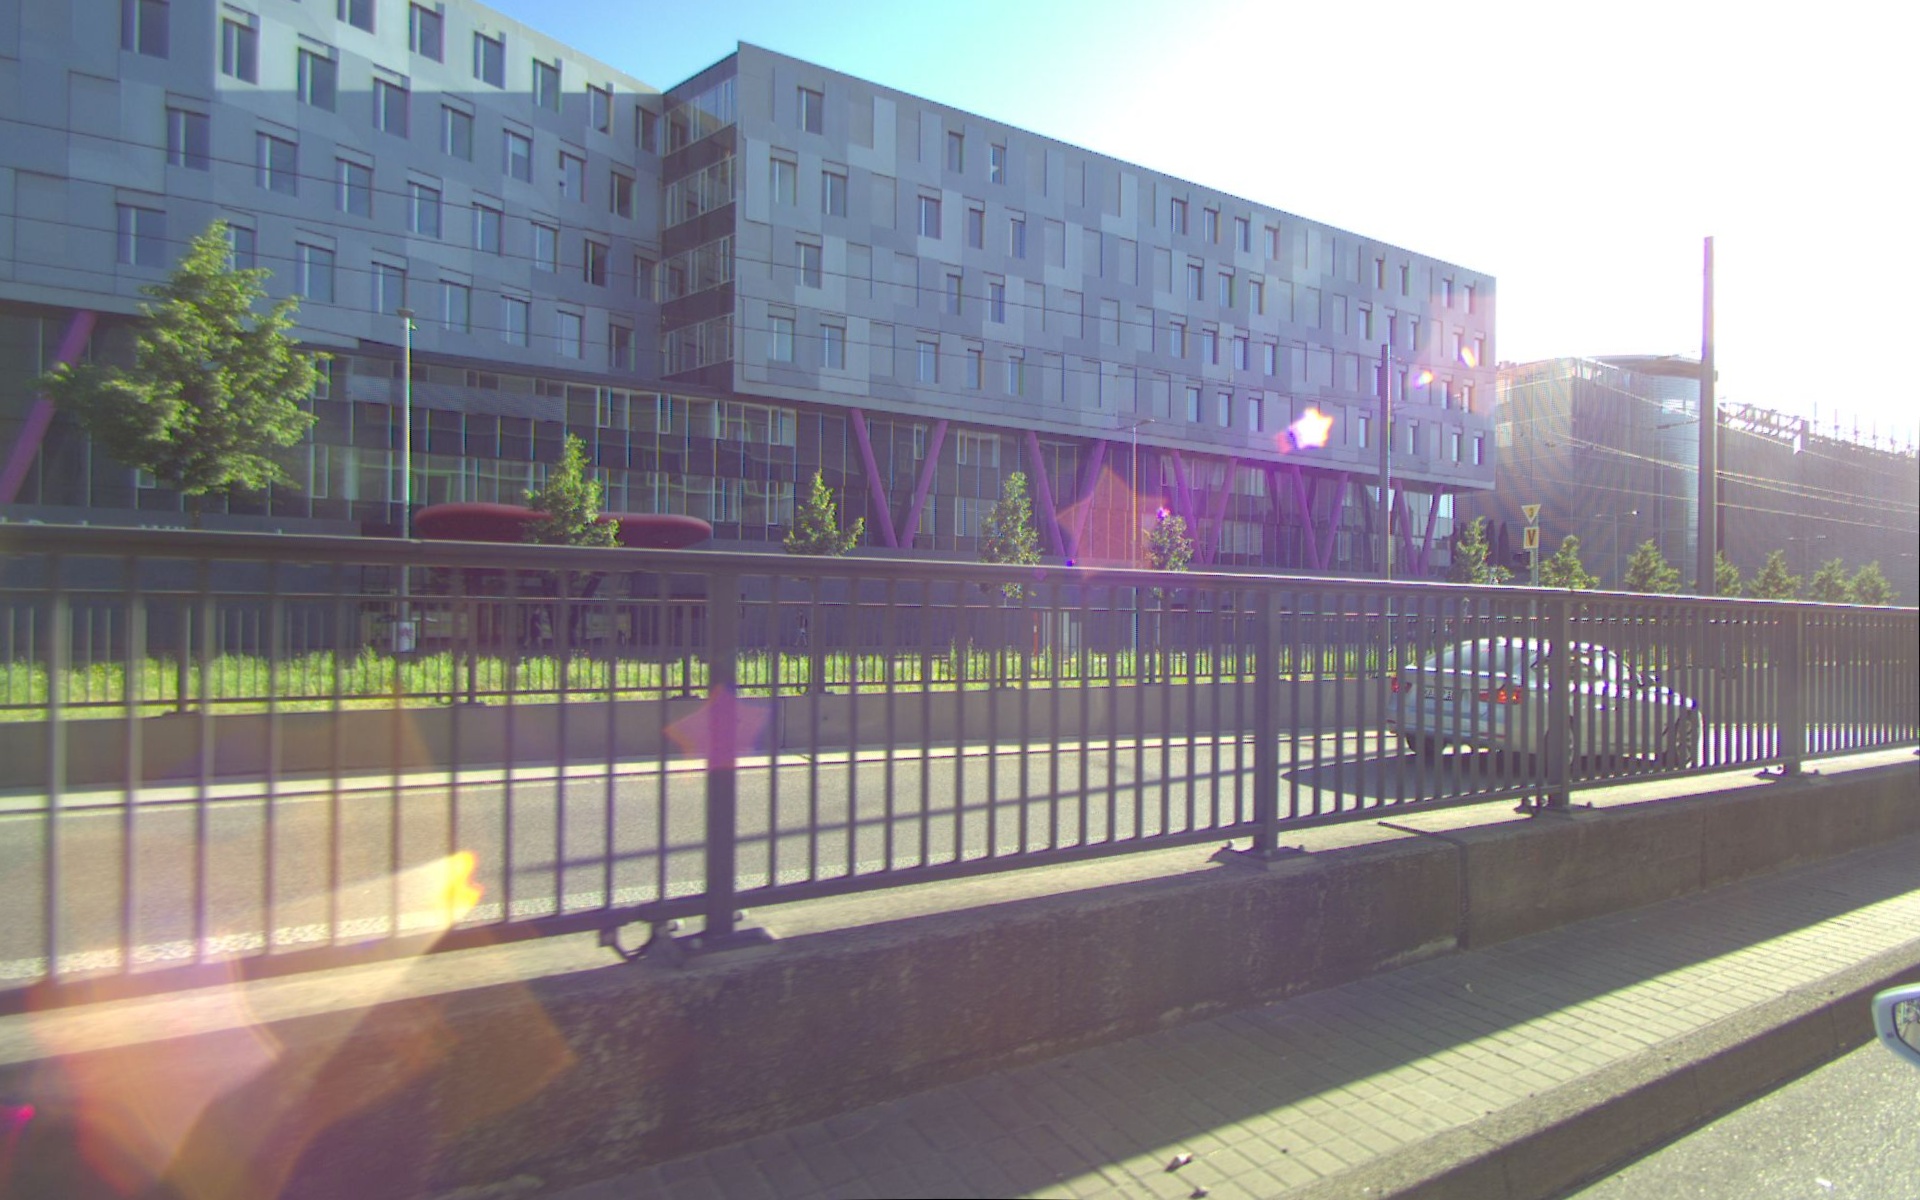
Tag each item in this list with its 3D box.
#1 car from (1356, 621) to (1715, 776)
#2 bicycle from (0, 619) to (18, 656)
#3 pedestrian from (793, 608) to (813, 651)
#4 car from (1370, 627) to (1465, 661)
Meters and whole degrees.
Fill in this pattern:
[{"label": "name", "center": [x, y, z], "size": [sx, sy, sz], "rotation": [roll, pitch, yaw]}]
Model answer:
[{"label": "car", "center": [7.299, 1.081, 12.579], "size": [4.855, 1.547, 1.789], "rotation": [1, 1, -32]}, {"label": "bicycle", "center": [-31.455, 1.209, 32.058], "size": [1.952, 1.188, 0.517], "rotation": [1, -1, -30]}, {"label": "pedestrian", "center": [-7.413, 1.386, 47.361], "size": [0.681, 2.040, 0.733], "rotation": [1, -1, -29]}, {"label": "car", "center": [22.625, 2.131, 49.636], "size": [4.660, 1.547, 1.791], "rotation": [1, 1, -29]}]
